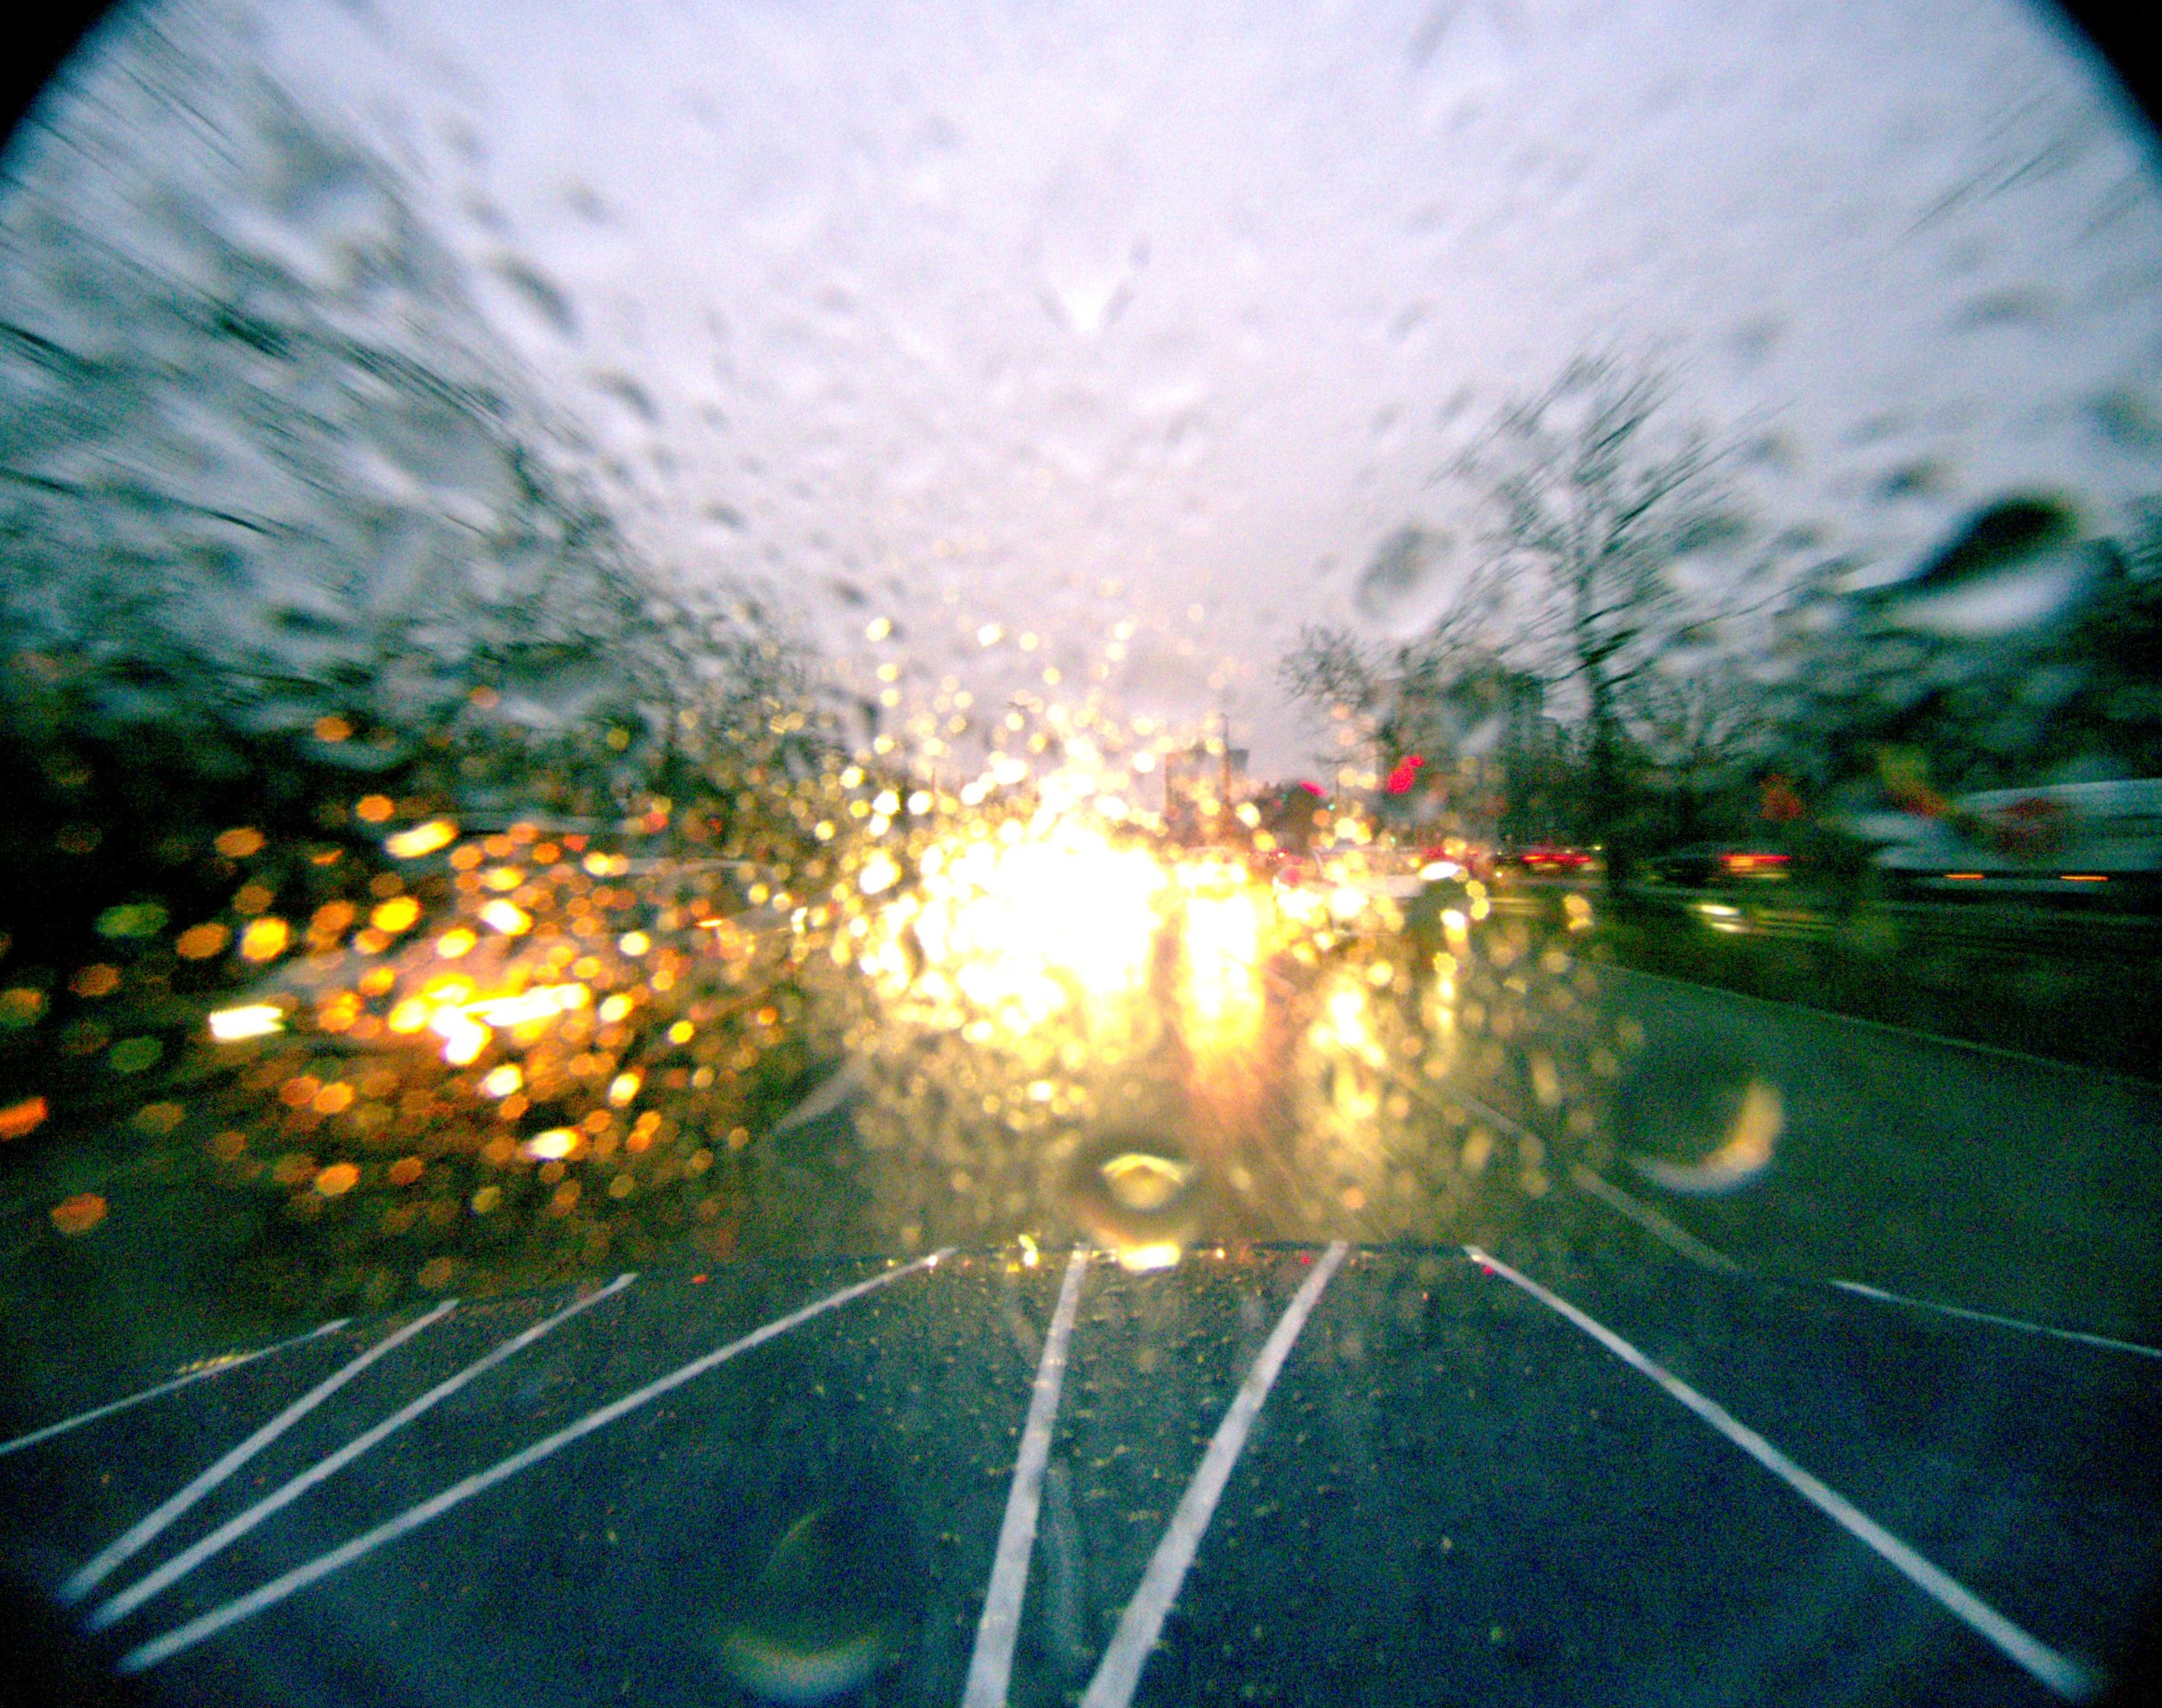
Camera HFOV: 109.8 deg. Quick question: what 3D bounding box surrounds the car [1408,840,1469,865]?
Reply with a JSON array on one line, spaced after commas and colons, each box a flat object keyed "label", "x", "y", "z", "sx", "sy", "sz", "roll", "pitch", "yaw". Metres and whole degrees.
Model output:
[{"label": "car", "x": 22.454, "y": -0.089, "z": 47.906, "sx": 1.774, "sy": 1.486, "sz": 4.439, "roll": -1, "pitch": 0, "yaw": -1}]

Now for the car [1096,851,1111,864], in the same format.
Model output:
[{"label": "car", "x": 3.034, "y": 0.430, "z": 103.657, "sx": 1.998, "sy": 1.605, "sz": 3.999, "roll": -2, "pitch": 1, "yaw": 0}]

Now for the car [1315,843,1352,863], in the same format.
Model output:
[{"label": "car", "x": 19.106, "y": -0.080, "z": 57.667, "sx": 1.656, "sy": 1.412, "sz": 3.325, "roll": -1, "pitch": 1, "yaw": -1}]

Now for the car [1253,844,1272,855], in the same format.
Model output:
[{"label": "car", "x": 26.369, "y": -0.698, "z": 110.465, "sx": 1.623, "sy": 1.486, "sz": 4.016, "roll": -1, "pitch": 1, "yaw": -1}]

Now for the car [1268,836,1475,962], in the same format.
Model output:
[{"label": "car", "x": 4.372, "y": 0.568, "z": 12.159, "sx": 1.718, "sy": 1.638, "sz": 4.146, "roll": -1, "pitch": 1, "yaw": 0}]

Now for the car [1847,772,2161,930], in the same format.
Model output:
[{"label": "car", "x": 21.630, "y": -0.153, "z": 16.700, "sx": 2.297, "sy": 2.988, "sz": 7.345, "roll": -2, "pitch": 1, "yaw": 1}]

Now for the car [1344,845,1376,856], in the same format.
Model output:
[{"label": "car", "x": 41.070, "y": -0.527, "z": 111.800, "sx": 4.446, "sy": 1.536, "sz": 1.847, "roll": -1, "pitch": 1, "yaw": -27}]

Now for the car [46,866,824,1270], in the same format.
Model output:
[{"label": "car", "x": -3.555, "y": 0.973, "z": 5.523, "sx": 1.820, "sy": 1.609, "sz": 4.410, "roll": -1, "pitch": 1, "yaw": 0}]

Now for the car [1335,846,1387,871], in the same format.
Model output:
[{"label": "car", "x": 18.833, "y": 0.253, "z": 51.317, "sx": 1.862, "sy": 1.589, "sz": 4.286, "roll": -1, "pitch": 1, "yaw": -1}]

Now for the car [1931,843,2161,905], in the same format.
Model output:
[{"label": "car", "x": 24.742, "y": 0.425, "z": 19.309, "sx": 1.760, "sy": 1.390, "sz": 3.999, "roll": -1, "pitch": 1, "yaw": 0}]

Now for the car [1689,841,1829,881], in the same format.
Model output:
[{"label": "car", "x": 25.740, "y": 0.238, "z": 29.053, "sx": 1.760, "sy": 1.390, "sz": 3.999, "roll": -1, "pitch": 1, "yaw": 0}]

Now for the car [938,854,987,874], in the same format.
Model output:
[{"label": "car", "x": -8.145, "y": 0.660, "z": 52.174, "sx": 1.640, "sy": 1.302, "sz": 3.989, "roll": -2, "pitch": 1, "yaw": -36}]

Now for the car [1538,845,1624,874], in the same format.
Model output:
[{"label": "car", "x": 25.597, "y": 0.245, "z": 39.074, "sx": 1.760, "sy": 1.390, "sz": 3.999, "roll": -1, "pitch": 1, "yaw": 0}]

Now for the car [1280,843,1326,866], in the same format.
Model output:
[{"label": "car", "x": 15.424, "y": 0.029, "z": 53.034, "sx": 1.774, "sy": 1.528, "sz": 4.840, "roll": -1, "pitch": 0, "yaw": -1}]

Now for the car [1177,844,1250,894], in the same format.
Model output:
[{"label": "car", "x": 4.534, "y": 0.455, "z": 26.497, "sx": 1.694, "sy": 1.530, "sz": 4.189, "roll": -2, "pitch": 1, "yaw": -1}]

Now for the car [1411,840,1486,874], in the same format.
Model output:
[{"label": "car", "x": 18.438, "y": 0.132, "z": 38.292, "sx": 1.774, "sy": 1.577, "sz": 4.032, "roll": -1, "pitch": 1, "yaw": -1}]

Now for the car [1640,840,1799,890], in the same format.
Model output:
[{"label": "car", "x": 21.625, "y": 0.333, "z": 26.008, "sx": 1.774, "sy": 1.528, "sz": 4.446, "roll": -1, "pitch": 0, "yaw": 1}]

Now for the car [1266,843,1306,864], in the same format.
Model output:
[{"label": "car", "x": 16.017, "y": -0.063, "z": 59.588, "sx": 1.862, "sy": 1.572, "sz": 4.078, "roll": -1, "pitch": 1, "yaw": -3}]

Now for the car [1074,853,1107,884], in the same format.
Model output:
[{"label": "car", "x": 0.467, "y": 0.773, "z": 42.339, "sx": 1.679, "sy": 1.590, "sz": 4.043, "roll": -1, "pitch": 1, "yaw": -1}]

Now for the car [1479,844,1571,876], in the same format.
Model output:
[{"label": "car", "x": 21.858, "y": 0.251, "z": 37.648, "sx": 1.774, "sy": 1.481, "sz": 4.649, "roll": -1, "pitch": 0, "yaw": -1}]

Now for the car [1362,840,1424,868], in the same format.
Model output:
[{"label": "car", "x": 18.378, "y": -0.010, "z": 44.928, "sx": 1.774, "sy": 1.524, "sz": 4.524, "roll": -1, "pitch": 0, "yaw": -1}]

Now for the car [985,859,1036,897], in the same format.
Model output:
[{"label": "car", "x": -2.908, "y": 0.966, "z": 32.425, "sx": 1.882, "sy": 1.368, "sz": 4.753, "roll": -1, "pitch": 1, "yaw": -2}]

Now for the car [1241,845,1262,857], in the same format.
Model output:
[{"label": "car", "x": 22.882, "y": -0.420, "z": 101.987, "sx": 1.774, "sy": 1.544, "sz": 3.946, "roll": -1, "pitch": 1, "yaw": -1}]

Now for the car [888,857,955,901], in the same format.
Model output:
[{"label": "car", "x": -6.387, "y": 0.950, "z": 31.011, "sx": 1.972, "sy": 1.610, "sz": 4.546, "roll": 0, "pitch": 1, "yaw": -3}]

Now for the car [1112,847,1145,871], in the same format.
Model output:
[{"label": "car", "x": 3.282, "y": 0.319, "z": 53.428, "sx": 1.953, "sy": 1.590, "sz": 4.123, "roll": -1, "pitch": 1, "yaw": -1}]

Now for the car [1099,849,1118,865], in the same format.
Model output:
[{"label": "car", "x": 3.081, "y": 0.338, "z": 85.137, "sx": 1.998, "sy": 1.652, "sz": 3.999, "roll": -2, "pitch": 1, "yaw": 0}]

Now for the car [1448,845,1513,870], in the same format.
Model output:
[{"label": "car", "x": 25.409, "y": 0.215, "z": 48.498, "sx": 1.774, "sy": 1.486, "sz": 4.439, "roll": -1, "pitch": 0, "yaw": -1}]
